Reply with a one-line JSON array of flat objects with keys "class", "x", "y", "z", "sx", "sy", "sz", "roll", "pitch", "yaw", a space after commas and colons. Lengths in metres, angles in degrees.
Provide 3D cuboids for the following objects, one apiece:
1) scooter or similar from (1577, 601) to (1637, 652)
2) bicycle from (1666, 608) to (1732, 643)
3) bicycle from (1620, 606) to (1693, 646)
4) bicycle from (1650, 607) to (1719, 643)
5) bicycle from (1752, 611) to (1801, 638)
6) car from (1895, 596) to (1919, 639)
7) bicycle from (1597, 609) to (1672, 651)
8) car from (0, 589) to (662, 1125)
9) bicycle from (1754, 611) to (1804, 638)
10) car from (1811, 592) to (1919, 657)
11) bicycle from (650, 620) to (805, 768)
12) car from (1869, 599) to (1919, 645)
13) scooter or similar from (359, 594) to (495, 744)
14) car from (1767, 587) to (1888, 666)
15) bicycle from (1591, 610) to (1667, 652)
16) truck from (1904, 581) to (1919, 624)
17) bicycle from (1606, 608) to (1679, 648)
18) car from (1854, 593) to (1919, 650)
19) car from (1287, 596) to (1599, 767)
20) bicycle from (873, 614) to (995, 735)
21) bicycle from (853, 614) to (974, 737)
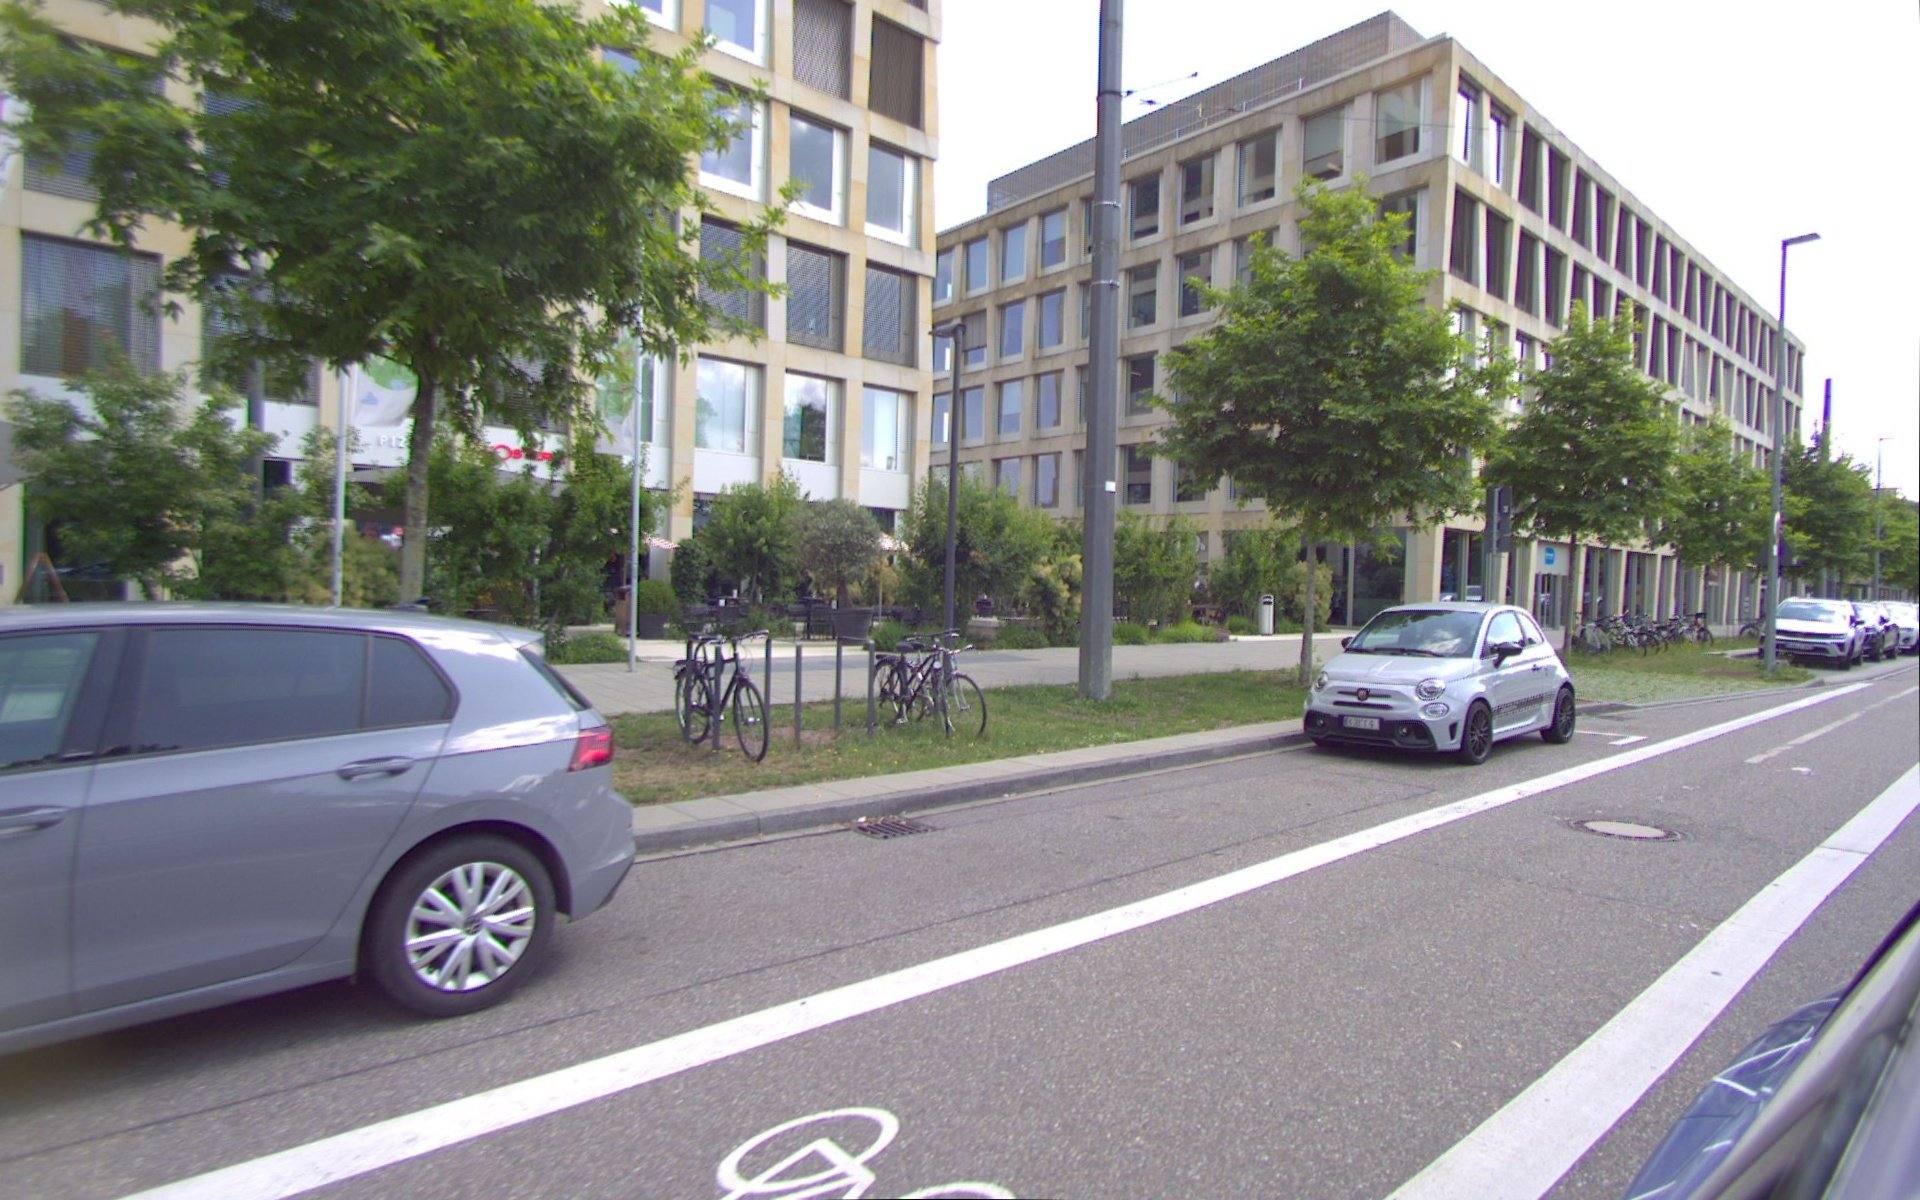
[{"class": "scooter or similar", "x": 15.940, "y": 0.634, "z": 24.933, "sx": 0.705, "sy": 1.190, "sz": 1.055, "roll": 0, "pitch": 1, "yaw": -36}, {"class": "bicycle", "x": 21.990, "y": 0.746, "z": 30.140, "sx": 0.496, "sy": 0.928, "sz": 1.500, "roll": -3, "pitch": 4, "yaw": -37}, {"class": "bicycle", "x": 18.449, "y": 0.679, "z": 26.835, "sx": 0.496, "sy": 0.928, "sz": 1.500, "roll": -3, "pitch": 4, "yaw": -37}, {"class": "bicycle", "x": 20.590, "y": 0.693, "z": 28.786, "sx": 0.496, "sy": 0.928, "sz": 1.500, "roll": -3, "pitch": 4, "yaw": -37}, {"class": "bicycle", "x": 30.029, "y": 0.901, "z": 37.242, "sx": 0.265, "sy": 0.886, "sz": 1.387, "roll": -3, "pitch": 4, "yaw": -37}, {"class": "car", "x": 37.094, "y": 0.695, "z": 38.451, "sx": 4.085, "sy": 1.548, "sz": 1.797, "roll": 0, "pitch": 3, "yaw": -41}, {"class": "bicycle", "x": 17.121, "y": 0.747, "z": 25.719, "sx": 0.496, "sy": 0.928, "sz": 1.500, "roll": -3, "pitch": 4, "yaw": -37}, {"class": "car", "x": -3.209, "y": 0.696, "z": 3.271, "sx": 4.037, "sy": 1.453, "sz": 1.593, "roll": 0, "pitch": 0, "yaw": -42}, {"class": "bicycle", "x": 30.269, "y": 0.890, "z": 37.423, "sx": 0.265, "sy": 0.886, "sz": 1.387, "roll": -3, "pitch": 4, "yaw": -37}, {"class": "car", "x": 24.943, "y": 0.628, "z": 27.832, "sx": 3.857, "sy": 1.567, "sz": 1.689, "roll": 0, "pitch": 3, "yaw": -41}, {"class": "bicycle", "x": -2.118, "y": 0.769, "z": 9.035, "sx": 0.673, "sy": 1.089, "sz": 1.829, "roll": 0, "pitch": 2, "yaw": -36}, {"class": "car", "x": 33.323, "y": 0.749, "z": 35.435, "sx": 3.881, "sy": 1.475, "sz": 1.689, "roll": 0, "pitch": 3, "yaw": -41}, {"class": "scooter or similar", "x": -4.620, "y": 0.570, "z": 8.800, "sx": 0.997, "sy": 1.230, "sz": 0.259, "roll": 0, "pitch": 1, "yaw": -41}, {"class": "car", "x": 21.039, "y": 0.588, "z": 24.495, "sx": 3.922, "sy": 1.653, "sz": 1.688, "roll": 0, "pitch": 4, "yaw": -43}, {"class": "bicycle", "x": 16.592, "y": 0.758, "z": 25.128, "sx": 0.496, "sy": 0.928, "sz": 1.500, "roll": -3, "pitch": 4, "yaw": -37}, {"class": "truck", "x": 67.231, "y": 0.282, "z": 66.907, "sx": 2.412, "sy": 2.902, "sz": 6.817, "roll": 0, "pitch": 2, "yaw": -42}, {"class": "bicycle", "x": 17.730, "y": 0.719, "z": 26.315, "sx": 0.496, "sy": 0.928, "sz": 1.500, "roll": -3, "pitch": 4, "yaw": -37}, {"class": "car", "x": 29.495, "y": 0.635, "z": 31.660, "sx": 4.078, "sy": 1.625, "sz": 1.689, "roll": 0, "pitch": 3, "yaw": -41}, {"class": "car", "x": 5.115, "y": 0.712, "z": 10.550, "sx": 3.548, "sy": 1.479, "sz": 1.595, "roll": 0, "pitch": 0, "yaw": -39}, {"class": "bicycle", "x": -0.311, "y": 0.730, "z": 10.601, "sx": 0.270, "sy": 1.089, "sz": 1.829, "roll": 0, "pitch": 2, "yaw": -36}, {"class": "bicycle", "x": -0.520, "y": 0.730, "z": 10.434, "sx": 0.270, "sy": 1.089, "sz": 1.829, "roll": 0, "pitch": 2, "yaw": -36}]
